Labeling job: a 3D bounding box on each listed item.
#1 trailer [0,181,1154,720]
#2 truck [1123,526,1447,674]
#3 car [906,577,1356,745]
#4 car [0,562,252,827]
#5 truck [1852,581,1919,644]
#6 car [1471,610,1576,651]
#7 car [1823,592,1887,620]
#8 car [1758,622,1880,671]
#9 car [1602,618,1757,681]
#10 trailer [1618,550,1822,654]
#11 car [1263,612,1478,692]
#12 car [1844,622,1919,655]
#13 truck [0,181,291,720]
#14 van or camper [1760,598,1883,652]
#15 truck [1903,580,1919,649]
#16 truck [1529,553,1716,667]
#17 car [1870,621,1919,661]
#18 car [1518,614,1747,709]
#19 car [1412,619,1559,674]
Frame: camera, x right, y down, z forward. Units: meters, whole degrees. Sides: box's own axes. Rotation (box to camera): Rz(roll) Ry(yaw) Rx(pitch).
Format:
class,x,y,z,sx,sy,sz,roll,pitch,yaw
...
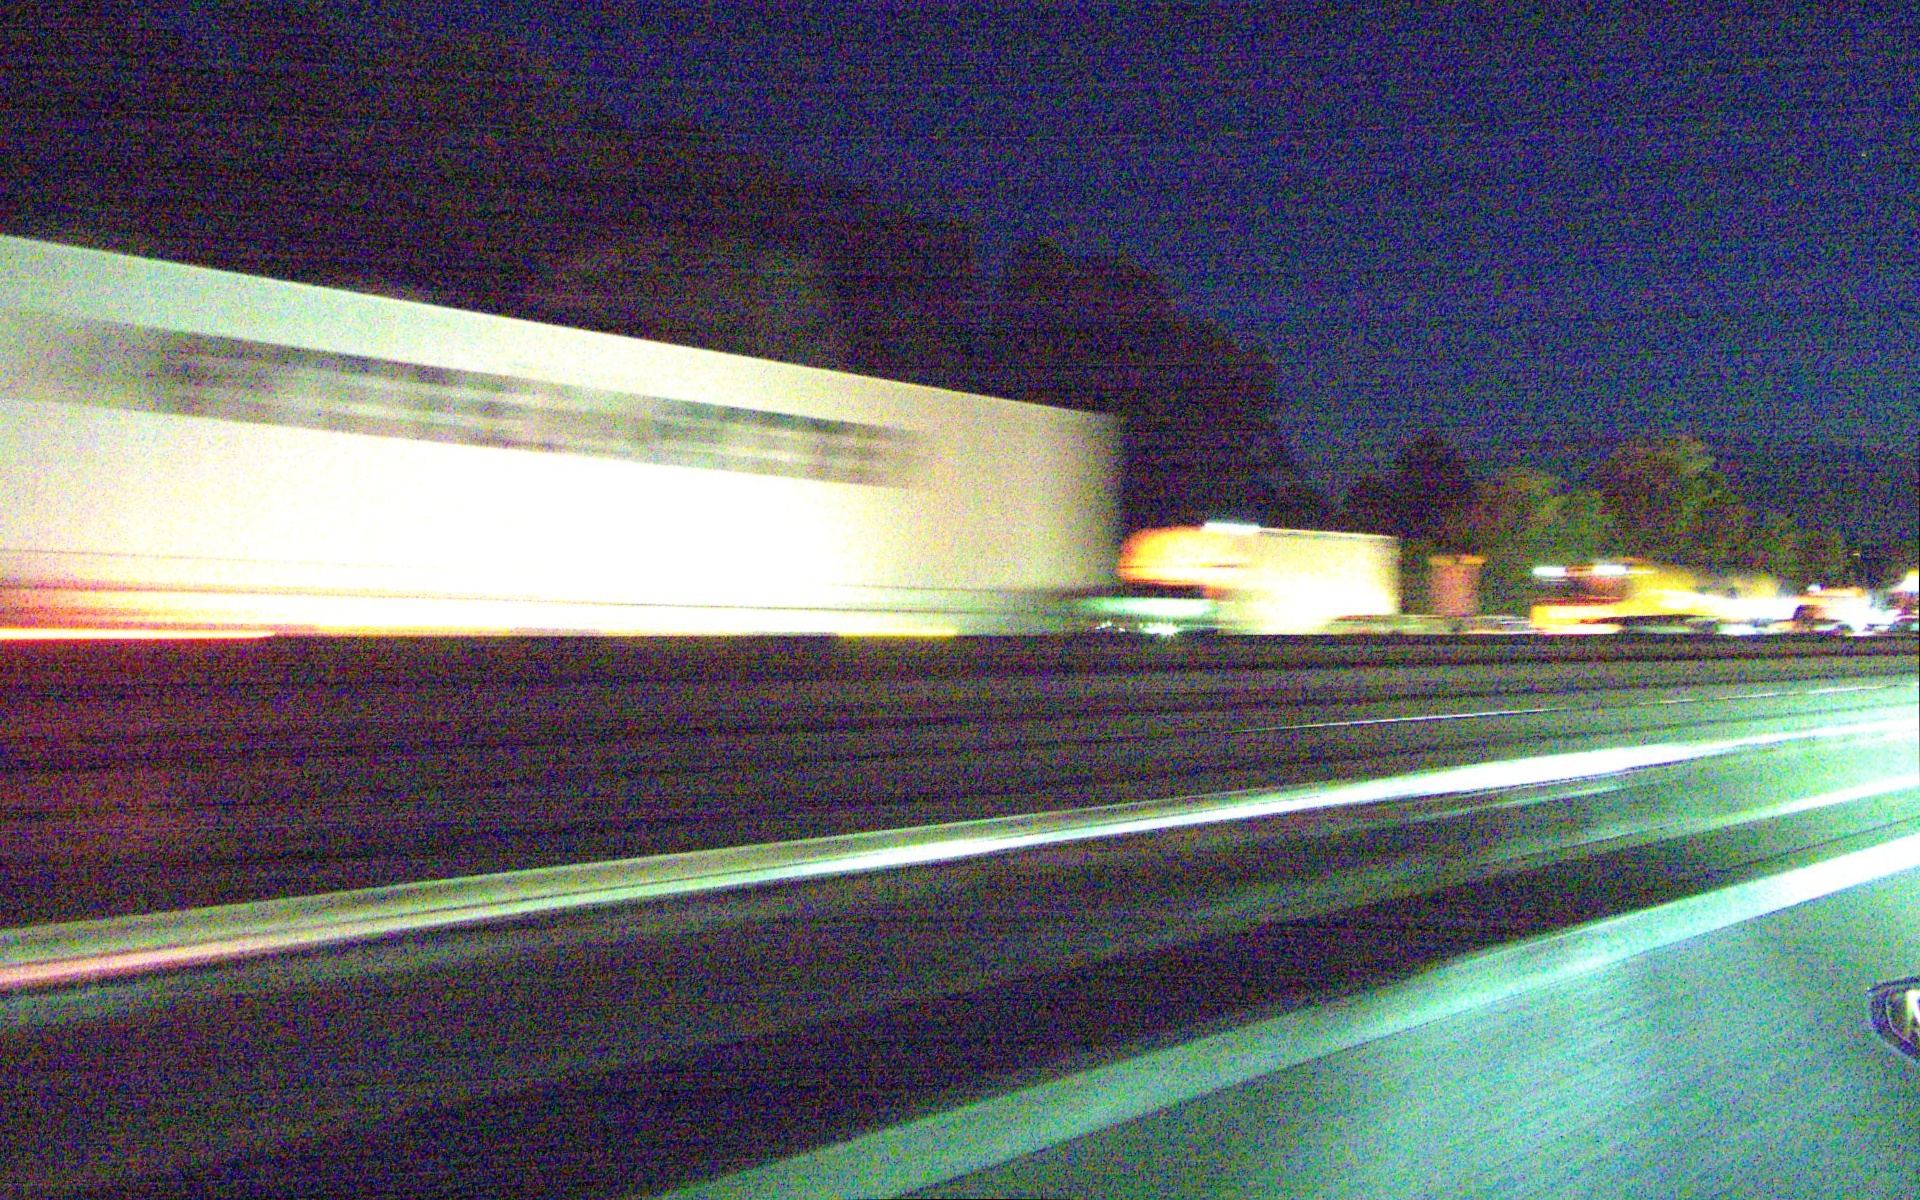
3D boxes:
class,x,y,z,sx,sy,sz,roll,pitch,yaw
trailer,-3.523,-0.984,11.905,12.307,4.143,3.074,3,2,-31
truck,7.784,0.070,23.568,8.079,2.998,2.544,2,0,-31
car,1.854,0.562,10.592,4.456,1.445,1.866,1,1,-28
car,-6.973,0.485,5.823,4.456,1.445,1.835,1,2,-28
truck,60.550,0.882,64.308,11.066,3.676,2.378,2,1,-34
car,20.395,1.105,36.304,3.955,1.372,1.562,2,1,-32
car,49.541,0.333,55.570,3.955,1.372,1.562,2,1,-32
car,26.518,1.428,30.999,3.951,1.372,1.563,2,1,-29
car,17.569,1.185,24.501,3.952,1.372,1.563,2,1,-30
trailer,27.235,0.135,35.826,8.903,3.218,2.592,3,2,-32
car,7.830,0.967,19.078,4.111,1.333,1.563,2,1,-30
car,42.668,1.778,46.427,4.192,1.372,1.562,2,1,-32
truck,-9.825,-1.306,8.135,6.995,4.152,3.093,3,2,-31
van or camper,36.182,1.041,42.090,7.567,2.040,2.172,2,1,-36
truck,52.784,0.831,53.350,6.653,3.561,2.389,2,1,-34
truck,21.233,0.346,32.144,5.731,3.262,2.629,3,2,-32
car,35.495,1.532,37.133,3.952,1.372,1.563,2,1,-30
car,11.249,0.990,16.749,3.952,1.372,1.563,2,1,-30
car,14.310,1.243,27.287,4.528,1.372,1.561,2,-1,-34
